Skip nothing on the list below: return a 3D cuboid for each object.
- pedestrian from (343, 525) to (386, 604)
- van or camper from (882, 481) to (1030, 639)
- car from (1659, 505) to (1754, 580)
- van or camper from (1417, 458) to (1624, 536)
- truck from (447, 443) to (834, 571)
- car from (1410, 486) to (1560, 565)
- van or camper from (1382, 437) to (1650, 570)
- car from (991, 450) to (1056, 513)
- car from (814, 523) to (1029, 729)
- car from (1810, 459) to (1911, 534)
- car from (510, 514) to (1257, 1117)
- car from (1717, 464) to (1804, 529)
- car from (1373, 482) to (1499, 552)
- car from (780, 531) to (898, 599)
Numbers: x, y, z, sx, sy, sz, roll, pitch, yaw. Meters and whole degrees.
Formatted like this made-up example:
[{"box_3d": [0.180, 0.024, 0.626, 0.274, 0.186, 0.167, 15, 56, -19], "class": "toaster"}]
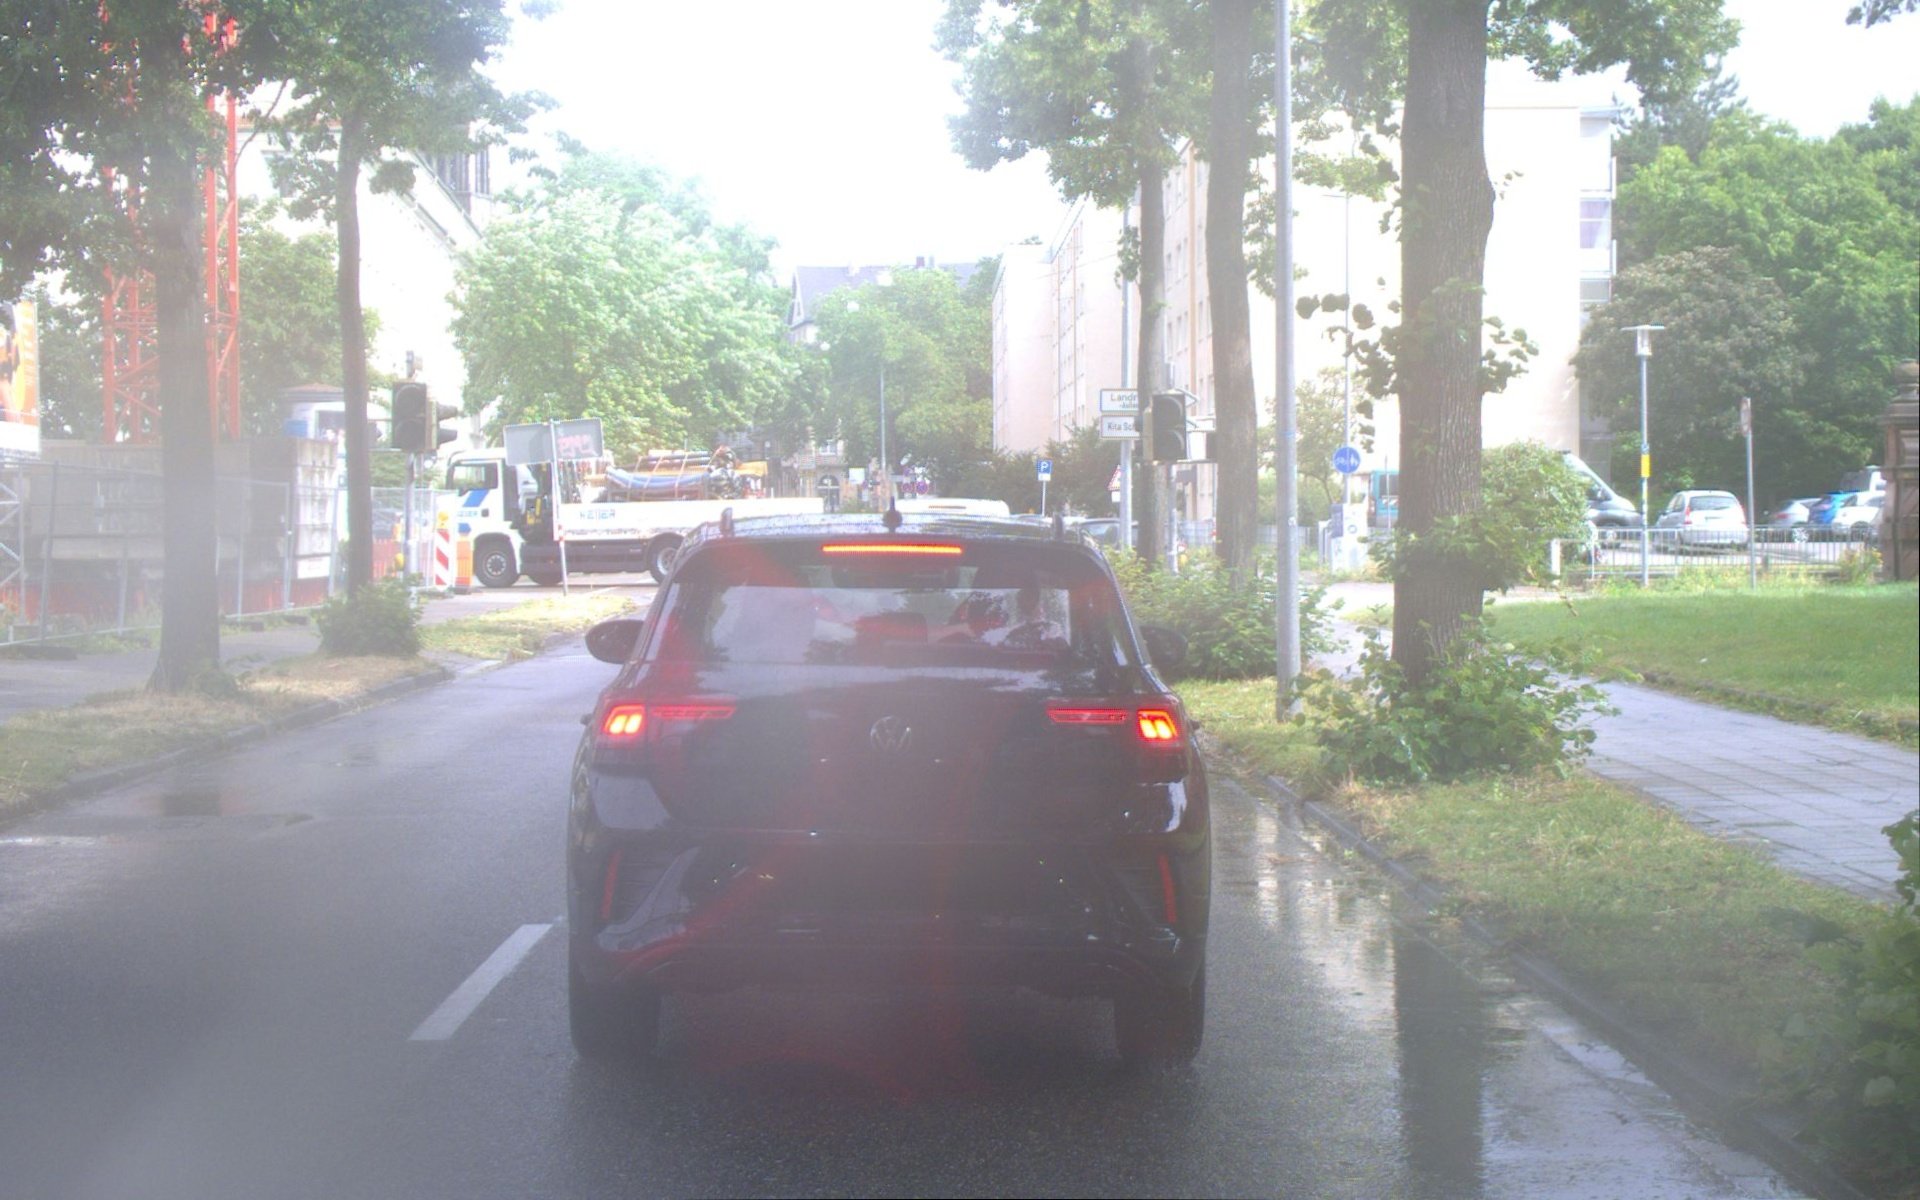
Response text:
[{"box_3d": [-11.327, -0.683, 65.421, 0.660, 1.480, 0.673, -1, 2, -25], "class": "pedestrian"}, {"box_3d": [-0.009, -0.555, 44.701, 1.819, 1.941, 4.195, 1, 2, 1], "class": "van or camper"}, {"box_3d": [18.025, -1.415, 83.116, 1.743, 1.678, 3.870, -3, 1, 6], "class": "car"}, {"box_3d": [14.191, -2.624, 87.248, 4.874, 1.919, 2.131, 0, 2, 0], "class": "van or camper"}, {"box_3d": [-7.022, -2.084, 75.177, 8.226, 2.647, 2.810, 1, 3, 27], "class": "truck"}, {"box_3d": [12.474, -1.777, 81.826, 3.408, 1.775, 1.759, -1, 1, 6], "class": "car"}, {"box_3d": [11.243, -1.954, 69.799, 5.032, 2.587, 2.168, -1, 1, -1], "class": "van or camper"}, {"box_3d": [2.112, -3.954, 115.521, 1.993, 2.007, 4.000, 2, 1, -1], "class": "car"}, {"box_3d": [-0.298, 0.193, 31.651, 1.680, 1.702, 3.909, -3, 1, 3], "class": "car"}, {"box_3d": [25.850, -2.959, 98.795, 1.994, 2.006, 4.000, -3, 1, 4], "class": "car"}, {"box_3d": [-0.218, 0.502, 10.745, 1.894, 1.517, 4.000, 0, 2, -1], "class": "car"}, {"box_3d": [24.314, -3.140, 104.544, 1.867, 1.850, 3.809, -3, 1, 4], "class": "car"}, {"box_3d": [13.453, -2.356, 97.020, 3.408, 1.775, 1.759, -3, 1, 9], "class": "car"}, {"box_3d": [-3.271, -0.978, 93.890, 1.756, 1.645, 3.932, -3, 1, 21], "class": "car"}]
